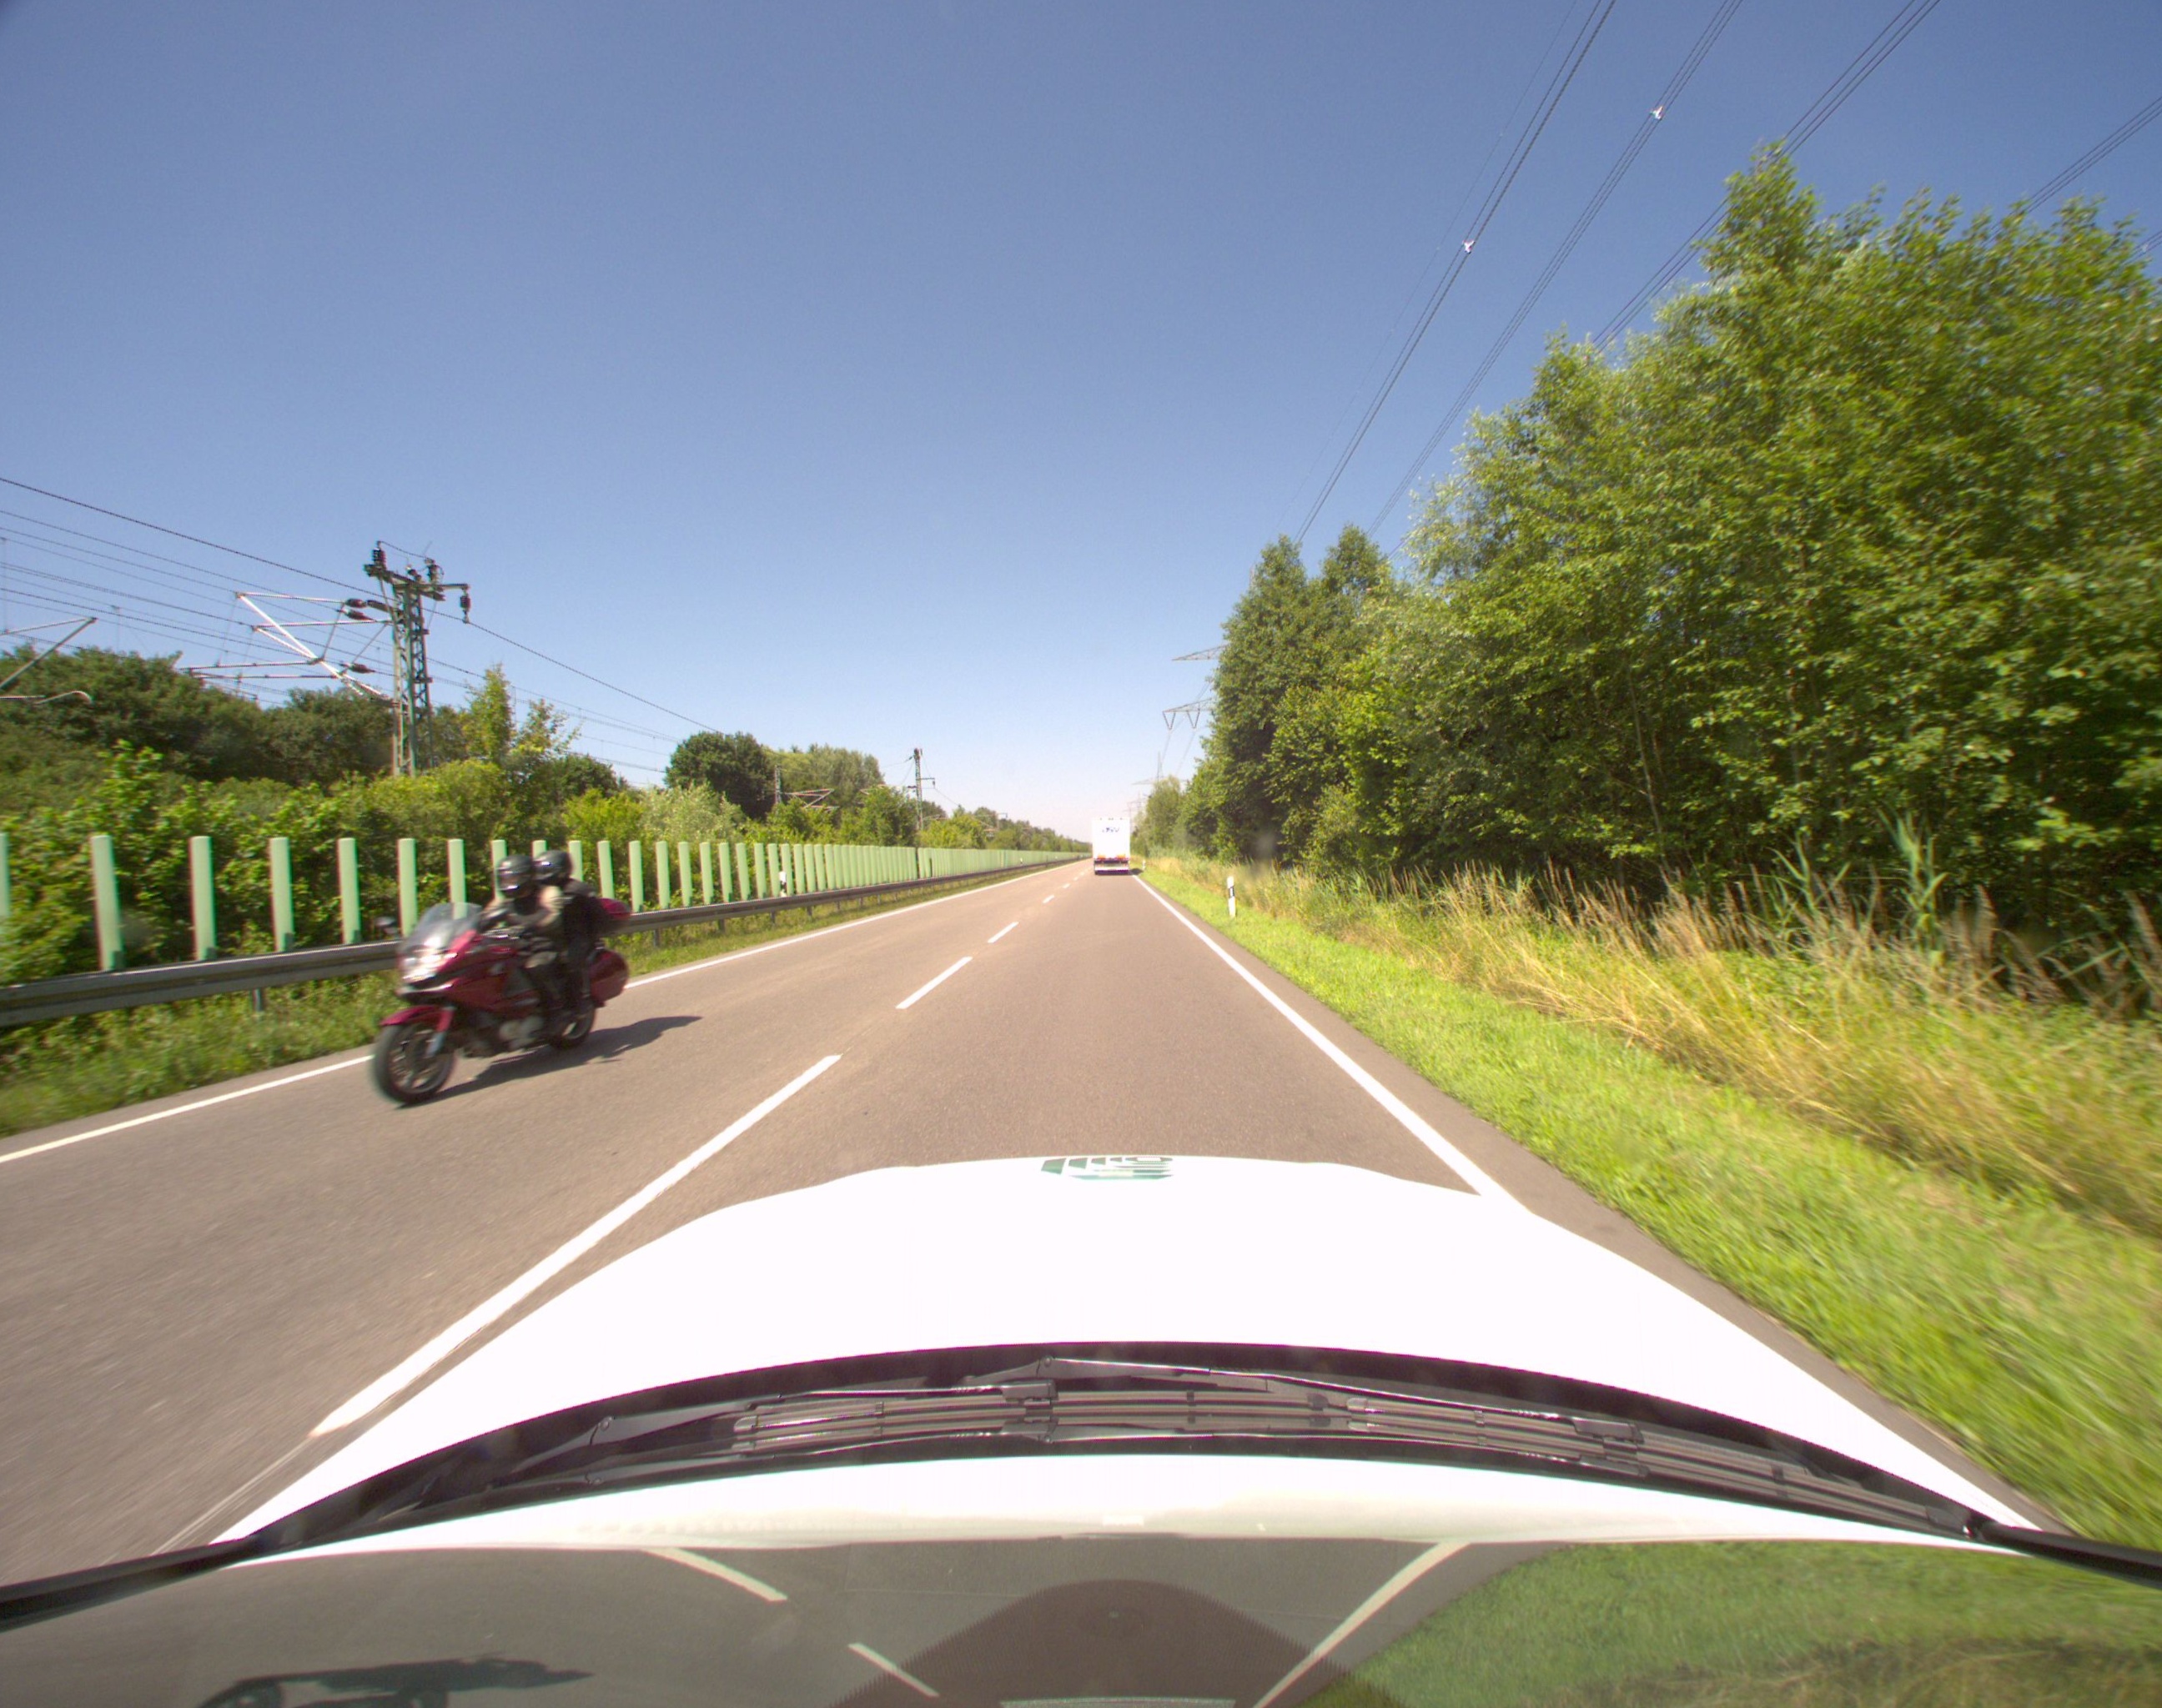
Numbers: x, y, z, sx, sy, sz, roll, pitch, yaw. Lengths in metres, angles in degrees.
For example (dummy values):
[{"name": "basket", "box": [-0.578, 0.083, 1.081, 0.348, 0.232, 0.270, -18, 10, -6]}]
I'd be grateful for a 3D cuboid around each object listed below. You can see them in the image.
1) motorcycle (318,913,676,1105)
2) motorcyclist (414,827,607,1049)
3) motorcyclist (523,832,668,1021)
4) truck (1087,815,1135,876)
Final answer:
[{"name": "motorcycle", "box": [-4.338, 1.070, 6.460, 0.751, 1.014, 2.723, 0, 0, 3]}, {"name": "motorcyclist", "box": [-4.361, 0.601, 6.306, 0.755, 1.583, 1.004, 0, -1, 3]}, {"name": "motorcyclist", "box": [-4.293, 0.612, 7.267, 0.746, 1.583, 0.864, 0, -1, 3]}, {"name": "truck", "box": [2.226, -0.587, 61.885, 3.180, 4.042, 12.010, -2, 0, 1]}]
